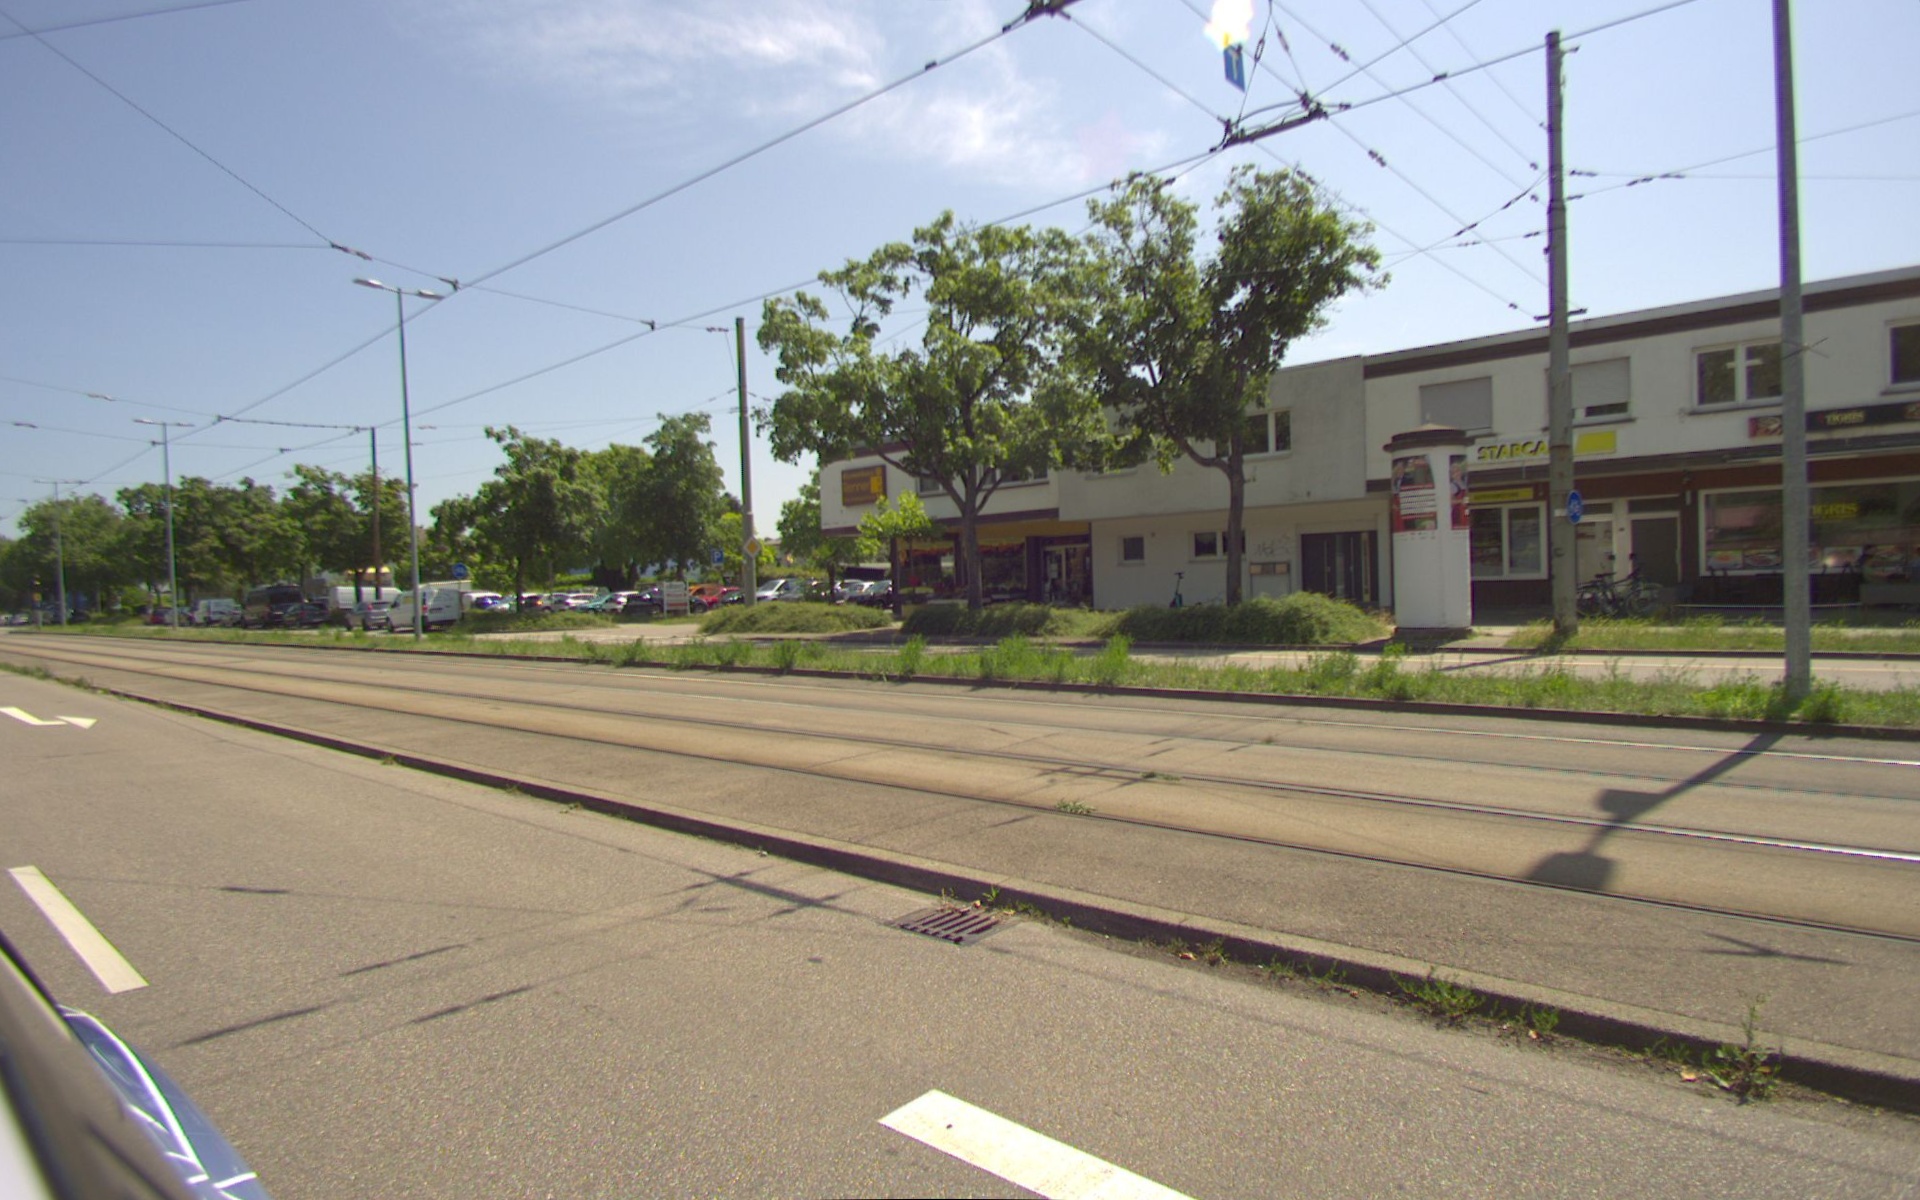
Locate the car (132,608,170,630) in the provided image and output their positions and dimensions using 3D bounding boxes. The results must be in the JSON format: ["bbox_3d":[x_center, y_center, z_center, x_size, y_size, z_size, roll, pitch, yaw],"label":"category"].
[{"bbox_3d":[-65.452,1.557,81.861,3.820,1.716,1.660,-1,1,40],"label":"car"}]

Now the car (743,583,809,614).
[{"bbox_3d":[-11.891,-0.115,65.511,1.811,1.798,3.950,-1,1,38],"label":"car"}]

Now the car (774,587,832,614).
[{"bbox_3d":[-9.919,0.025,64.124,1.532,1.548,3.450,-1,1,37],"label":"car"}]

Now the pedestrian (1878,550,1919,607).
[{"bbox_3d":[19.793,-0.454,21.293,0.674,1.172,0.512,-1,1,41],"label":"pedestrian"}]

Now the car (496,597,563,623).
[{"bbox_3d":[-26.035,0.578,61.263,1.600,1.404,3.375,-1,1,35],"label":"car"}]

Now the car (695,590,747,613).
[{"bbox_3d":[-16.837,0.089,71.300,1.504,1.469,3.315,-1,1,38],"label":"car"}]

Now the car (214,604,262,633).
[{"bbox_3d":[-48.190,1.237,67.553,3.866,1.807,1.660,-1,1,40],"label":"car"}]

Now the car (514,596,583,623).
[{"bbox_3d":[-23.916,0.551,58.896,1.600,1.404,3.375,-1,1,35],"label":"car"}]

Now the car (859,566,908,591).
[{"bbox_3d":[-6.590,-1.895,87.752,2.000,2.029,3.944,-1,1,42],"label":"car"}]

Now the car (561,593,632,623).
[{"bbox_3d":[-20.044,0.451,55.891,1.595,1.502,3.375,-1,1,35],"label":"car"}]

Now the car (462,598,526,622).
[{"bbox_3d":[-29.828,0.626,64.874,1.600,1.404,3.375,-1,1,35],"label":"car"}]

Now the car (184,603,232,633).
[{"bbox_3d":[-52.634,1.240,70.797,4.506,1.989,1.660,-1,1,40],"label":"car"}]

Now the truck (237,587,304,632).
[{"bbox_3d":[-42.070,0.578,61.711,4.926,2.560,2.197,-1,1,41],"label":"truck"}]

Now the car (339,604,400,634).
[{"bbox_3d":[-29.885,0.965,51.177,3.568,1.397,1.653,-1,1,43],"label":"car"}]

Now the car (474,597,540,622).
[{"bbox_3d":[-28.024,0.603,62.636,1.600,1.404,3.375,-1,1,35],"label":"car"}]

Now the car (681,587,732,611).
[{"bbox_3d":[-18.420,-0.085,73.668,1.504,1.573,3.315,-1,1,38],"label":"car"}]

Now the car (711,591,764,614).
[{"bbox_3d":[-15.246,0.153,69.389,1.504,1.400,3.315,-1,1,38],"label":"car"}]

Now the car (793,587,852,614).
[{"bbox_3d":[-8.398,0.019,62.000,1.622,1.548,3.450,-1,1,38],"label":"car"}]

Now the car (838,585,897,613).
[{"bbox_3d":[-5.533,-0.048,60.934,1.622,1.548,3.450,-1,1,38],"label":"car"}]

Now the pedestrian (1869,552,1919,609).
[{"bbox_3d":[19.296,-0.402,20.845,0.810,1.136,0.558,-1,1,41],"label":"pedestrian"}]

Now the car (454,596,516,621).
[{"bbox_3d":[-31.412,0.554,66.993,1.600,1.517,3.375,-1,1,35],"label":"car"}]

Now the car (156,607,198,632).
[{"bbox_3d":[-60.314,1.487,77.950,4.199,1.807,1.660,-2,0,40],"label":"car"}]

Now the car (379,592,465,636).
[{"bbox_3d":[-25.046,0.636,47.060,4.659,1.897,1.973,-1,1,41],"label":"car"}]

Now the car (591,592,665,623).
[{"bbox_3d":[-17.962,0.393,54.804,1.790,1.502,3.375,-1,1,35],"label":"car"}]

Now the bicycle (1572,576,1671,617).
[{"bbox_3d":[14.740,-0.076,22.581,1.786,0.854,0.523,-1,3,41],"label":"bicycle"}]

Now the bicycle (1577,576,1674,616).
[{"bbox_3d":[15.116,-0.086,23.025,1.786,0.854,0.523,-1,3,41],"label":"bicycle"}]

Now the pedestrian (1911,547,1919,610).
[{"bbox_3d":[19.208,-0.430,20.040,0.491,1.248,0.569,-1,1,40],"label":"pedestrian"}]

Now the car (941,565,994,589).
[{"bbox_3d":[0.585,-1.808,78.554,2.000,1.785,3.944,-1,1,42],"label":"car"}]

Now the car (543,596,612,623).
[{"bbox_3d":[-21.841,0.524,57.856,1.600,1.404,3.375,-1,1,35],"label":"car"}]

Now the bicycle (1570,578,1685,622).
[{"bbox_3d":[14.139,0.011,21.461,1.958,0.854,0.596,-1,3,41],"label":"bicycle"}]

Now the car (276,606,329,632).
[{"bbox_3d":[-37.501,1.093,57.709,3.669,1.397,1.653,-1,1,43],"label":"car"}]

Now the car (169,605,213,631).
[{"bbox_3d":[-57.014,1.360,75.037,4.199,1.807,1.660,-1,1,40],"label":"car"}]
